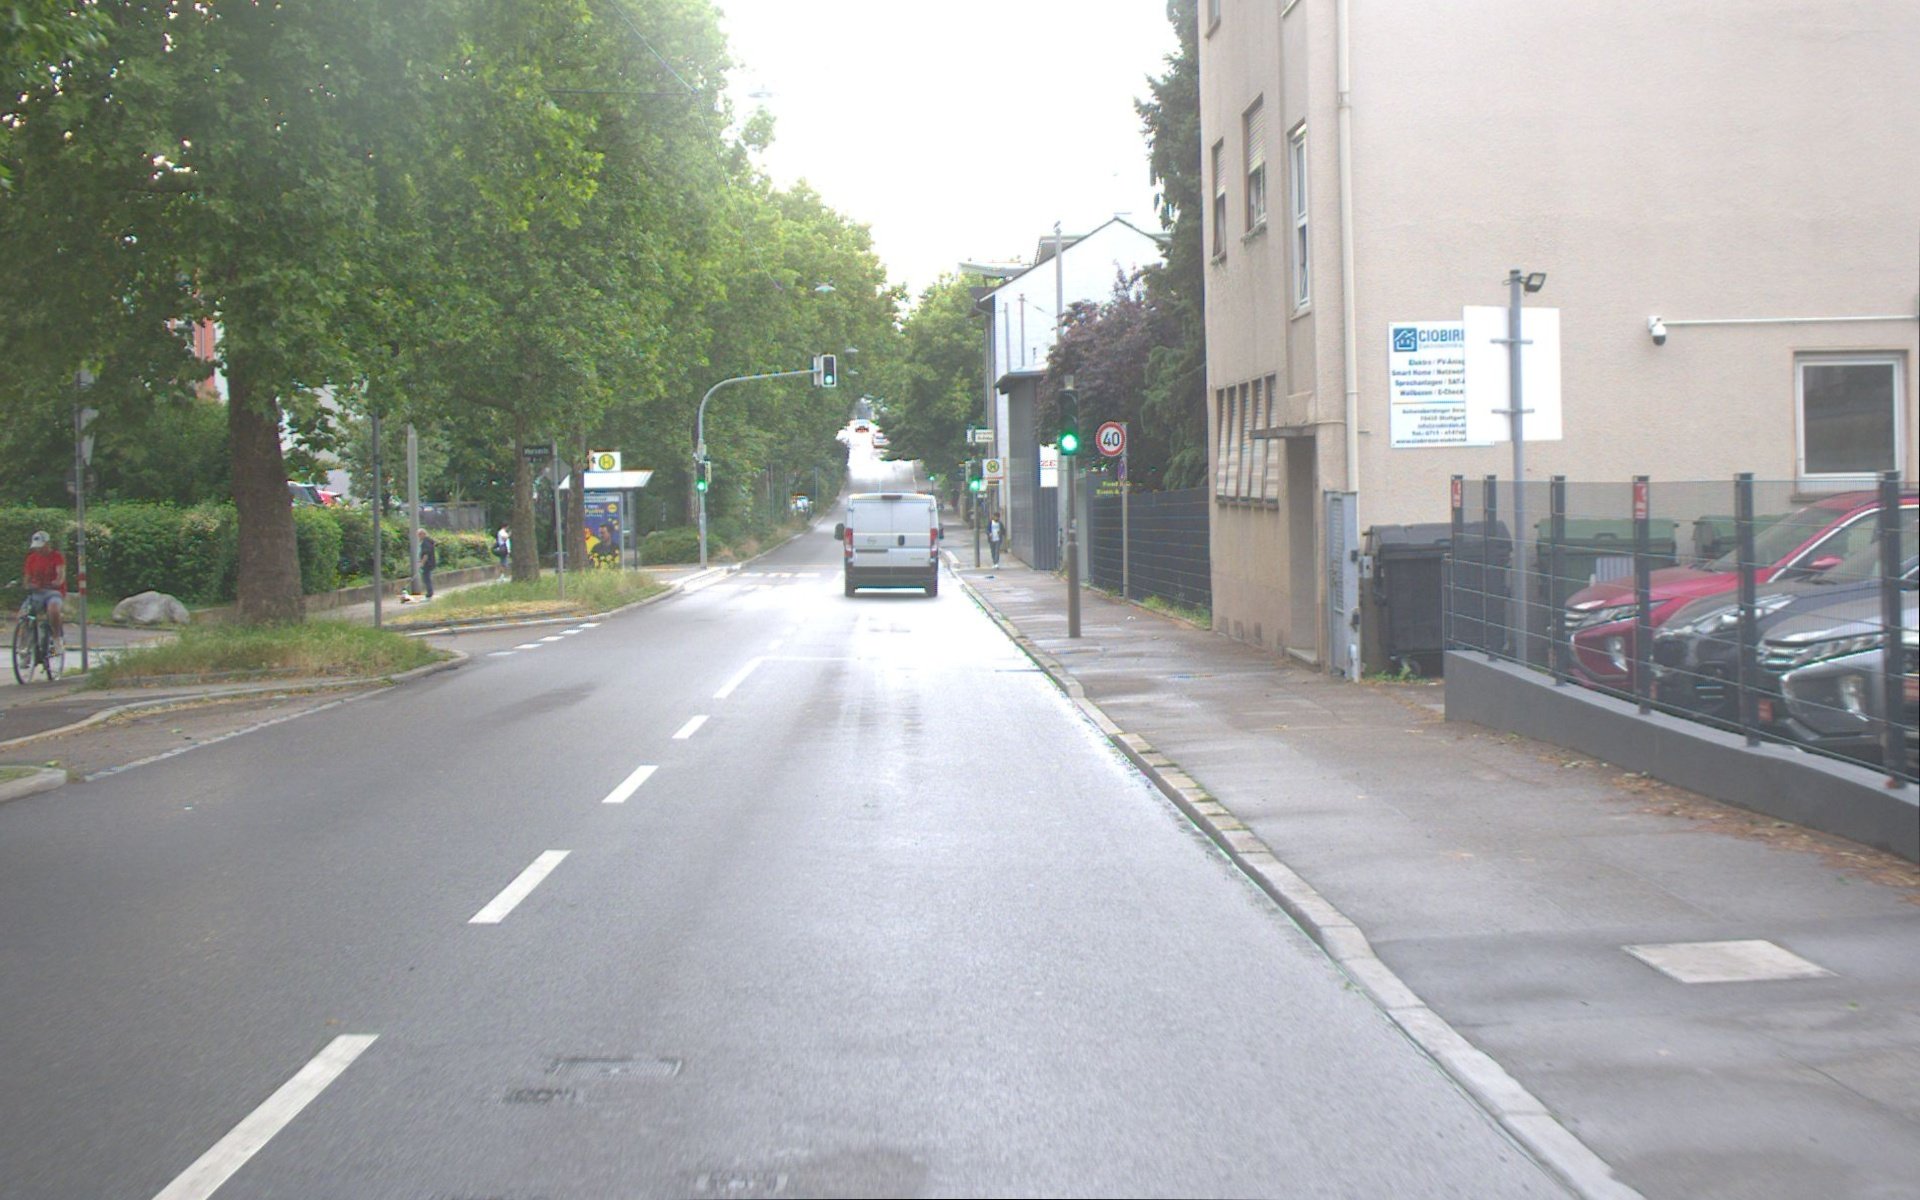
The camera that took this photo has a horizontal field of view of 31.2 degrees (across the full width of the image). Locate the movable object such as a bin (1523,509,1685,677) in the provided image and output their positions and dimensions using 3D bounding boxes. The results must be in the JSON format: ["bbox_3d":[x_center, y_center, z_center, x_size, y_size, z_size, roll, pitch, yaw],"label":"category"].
[{"bbox_3d":[6.063,-0.069,32.431,1.234,1.504,1.111,-3,0,-1],"label":"movable object such as a bin"}]

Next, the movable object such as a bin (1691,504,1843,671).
[{"bbox_3d":[7.610,-0.117,32.450,1.110,1.504,1.010,-3,0,-1],"label":"movable object such as a bin"}]

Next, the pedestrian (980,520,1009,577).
[{"bbox_3d":[1.021,-1.532,102.380,0.742,1.698,0.902,1,0,-6],"label":"pedestrian"}]

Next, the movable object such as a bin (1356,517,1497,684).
[{"bbox_3d":[4.399,0.006,32.488,1.110,1.504,0.987,-3,0,-1],"label":"movable object such as a bin"}]

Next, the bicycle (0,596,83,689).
[{"bbox_3d":[-10.242,0.454,38.134,0.554,0.992,2.266,1,0,-3],"label":"bicycle"}]

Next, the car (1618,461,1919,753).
[{"bbox_3d":[6.437,0.062,21.538,4.228,1.730,1.870,1,0,-1],"label":"car"}]

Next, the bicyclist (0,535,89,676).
[{"bbox_3d":[-10.228,0.060,38.337,0.832,1.547,0.817,1,0,-2],"label":"bicyclist"}]

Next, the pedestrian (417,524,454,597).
[{"bbox_3d":[-11.807,-0.885,77.407,0.755,1.605,0.835,1,0,-5],"label":"pedestrian"}]

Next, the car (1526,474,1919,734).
[{"bbox_3d":[6.284,0.041,24.272,4.228,1.730,1.870,1,0,-1],"label":"car"}]

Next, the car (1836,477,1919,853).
[{"bbox_3d":[6.359,0.318,16.237,3.948,1.718,1.791,1,1,-1],"label":"car"}]

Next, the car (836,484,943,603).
[{"bbox_3d":[-1.534,-1.211,75.661,2.282,2.544,4.000,0,0,-1],"label":"car"}]

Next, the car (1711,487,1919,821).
[{"bbox_3d":[6.379,0.306,18.875,4.066,1.730,1.870,1,0,-1],"label":"car"}]

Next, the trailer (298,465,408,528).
[{"bbox_3d":[-16.369,-2.784,92.818,2.704,1.639,1.480,1,1,0],"label":"trailer"}]

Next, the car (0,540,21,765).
[{"bbox_3d":[-7.474,0.414,22.119,1.785,1.545,4.352,0,2,-2],"label":"car"}]
